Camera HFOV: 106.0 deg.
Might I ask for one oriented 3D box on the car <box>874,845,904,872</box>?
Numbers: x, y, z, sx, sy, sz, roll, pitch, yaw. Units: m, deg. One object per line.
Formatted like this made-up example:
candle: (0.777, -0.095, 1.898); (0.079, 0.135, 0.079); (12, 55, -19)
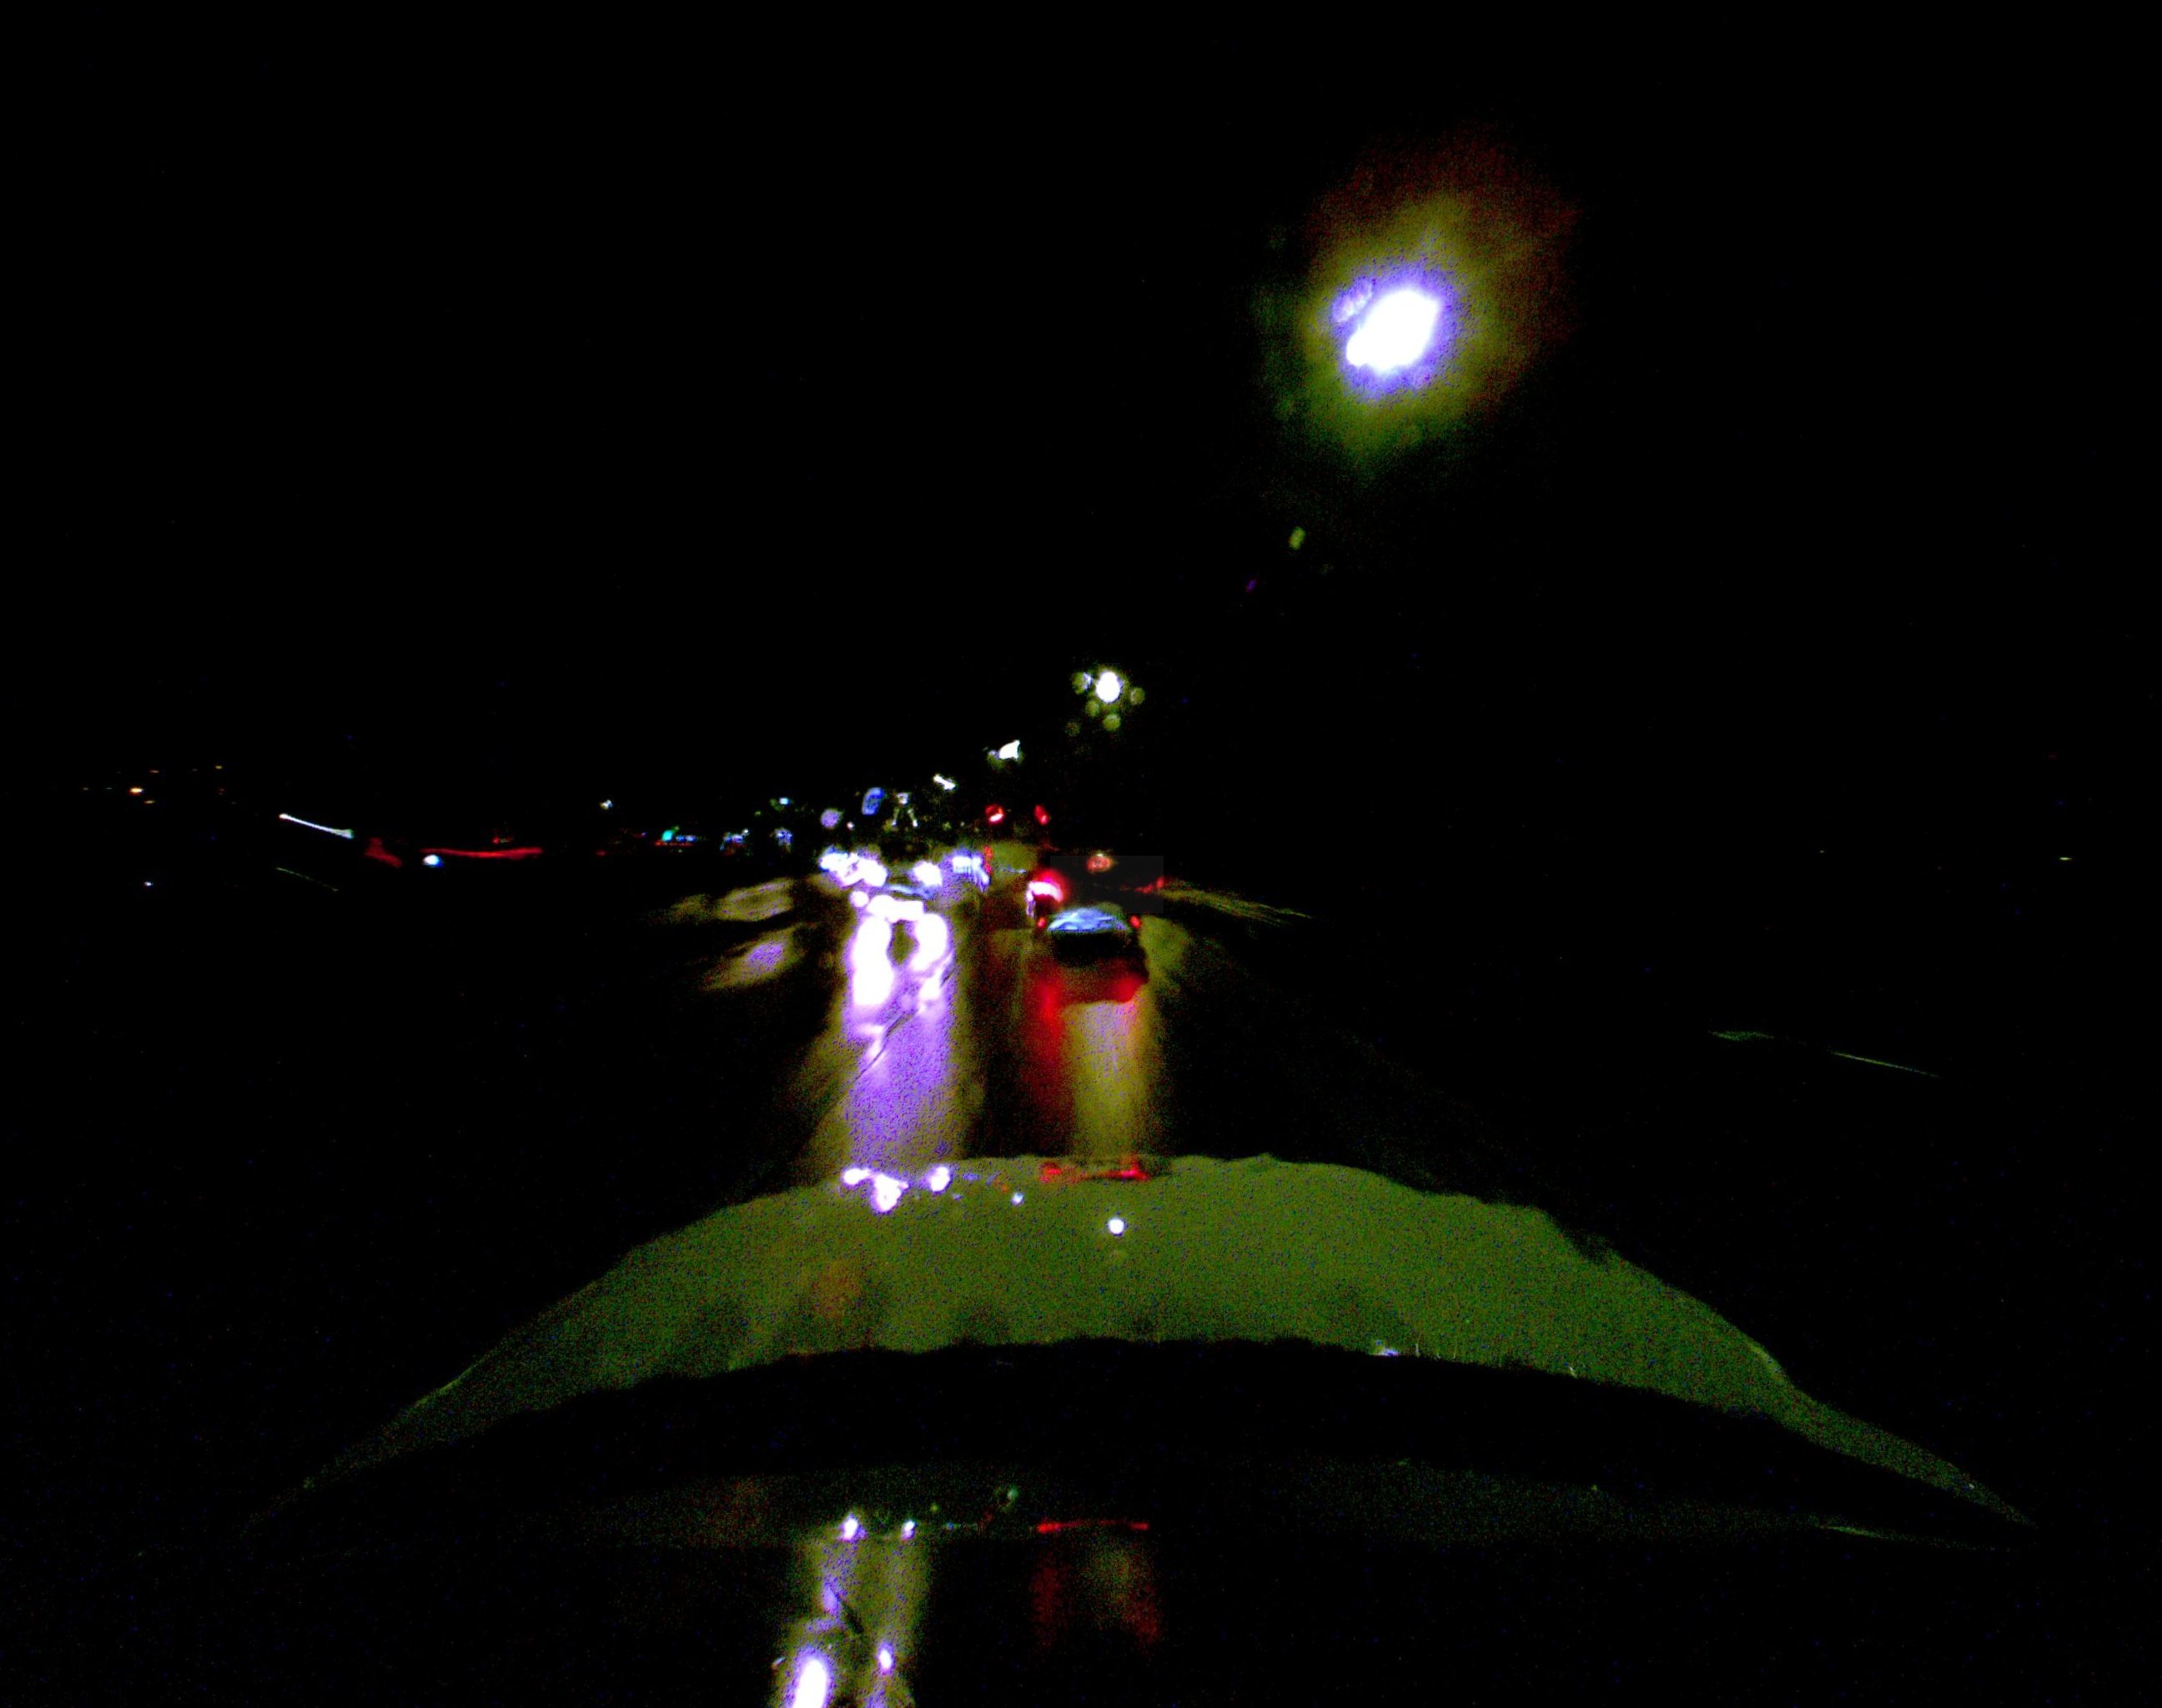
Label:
car: (-18.530, 0.451, 78.470); (2.702, 2.478, 5.279); (-1, 0, -14)

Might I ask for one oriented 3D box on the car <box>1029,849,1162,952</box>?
car: (0.166, 0.676, 14.104); (1.988, 1.524, 3.997); (0, 0, -2)

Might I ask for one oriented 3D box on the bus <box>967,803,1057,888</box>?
bus: (-3.257, -0.345, 35.807); (3.044, 3.212, 9.017); (-1, 0, -11)

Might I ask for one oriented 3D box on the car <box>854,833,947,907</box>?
car: (-5.382, 0.425, 24.937); (2.449, 1.988, 5.475); (-1, 0, -10)
